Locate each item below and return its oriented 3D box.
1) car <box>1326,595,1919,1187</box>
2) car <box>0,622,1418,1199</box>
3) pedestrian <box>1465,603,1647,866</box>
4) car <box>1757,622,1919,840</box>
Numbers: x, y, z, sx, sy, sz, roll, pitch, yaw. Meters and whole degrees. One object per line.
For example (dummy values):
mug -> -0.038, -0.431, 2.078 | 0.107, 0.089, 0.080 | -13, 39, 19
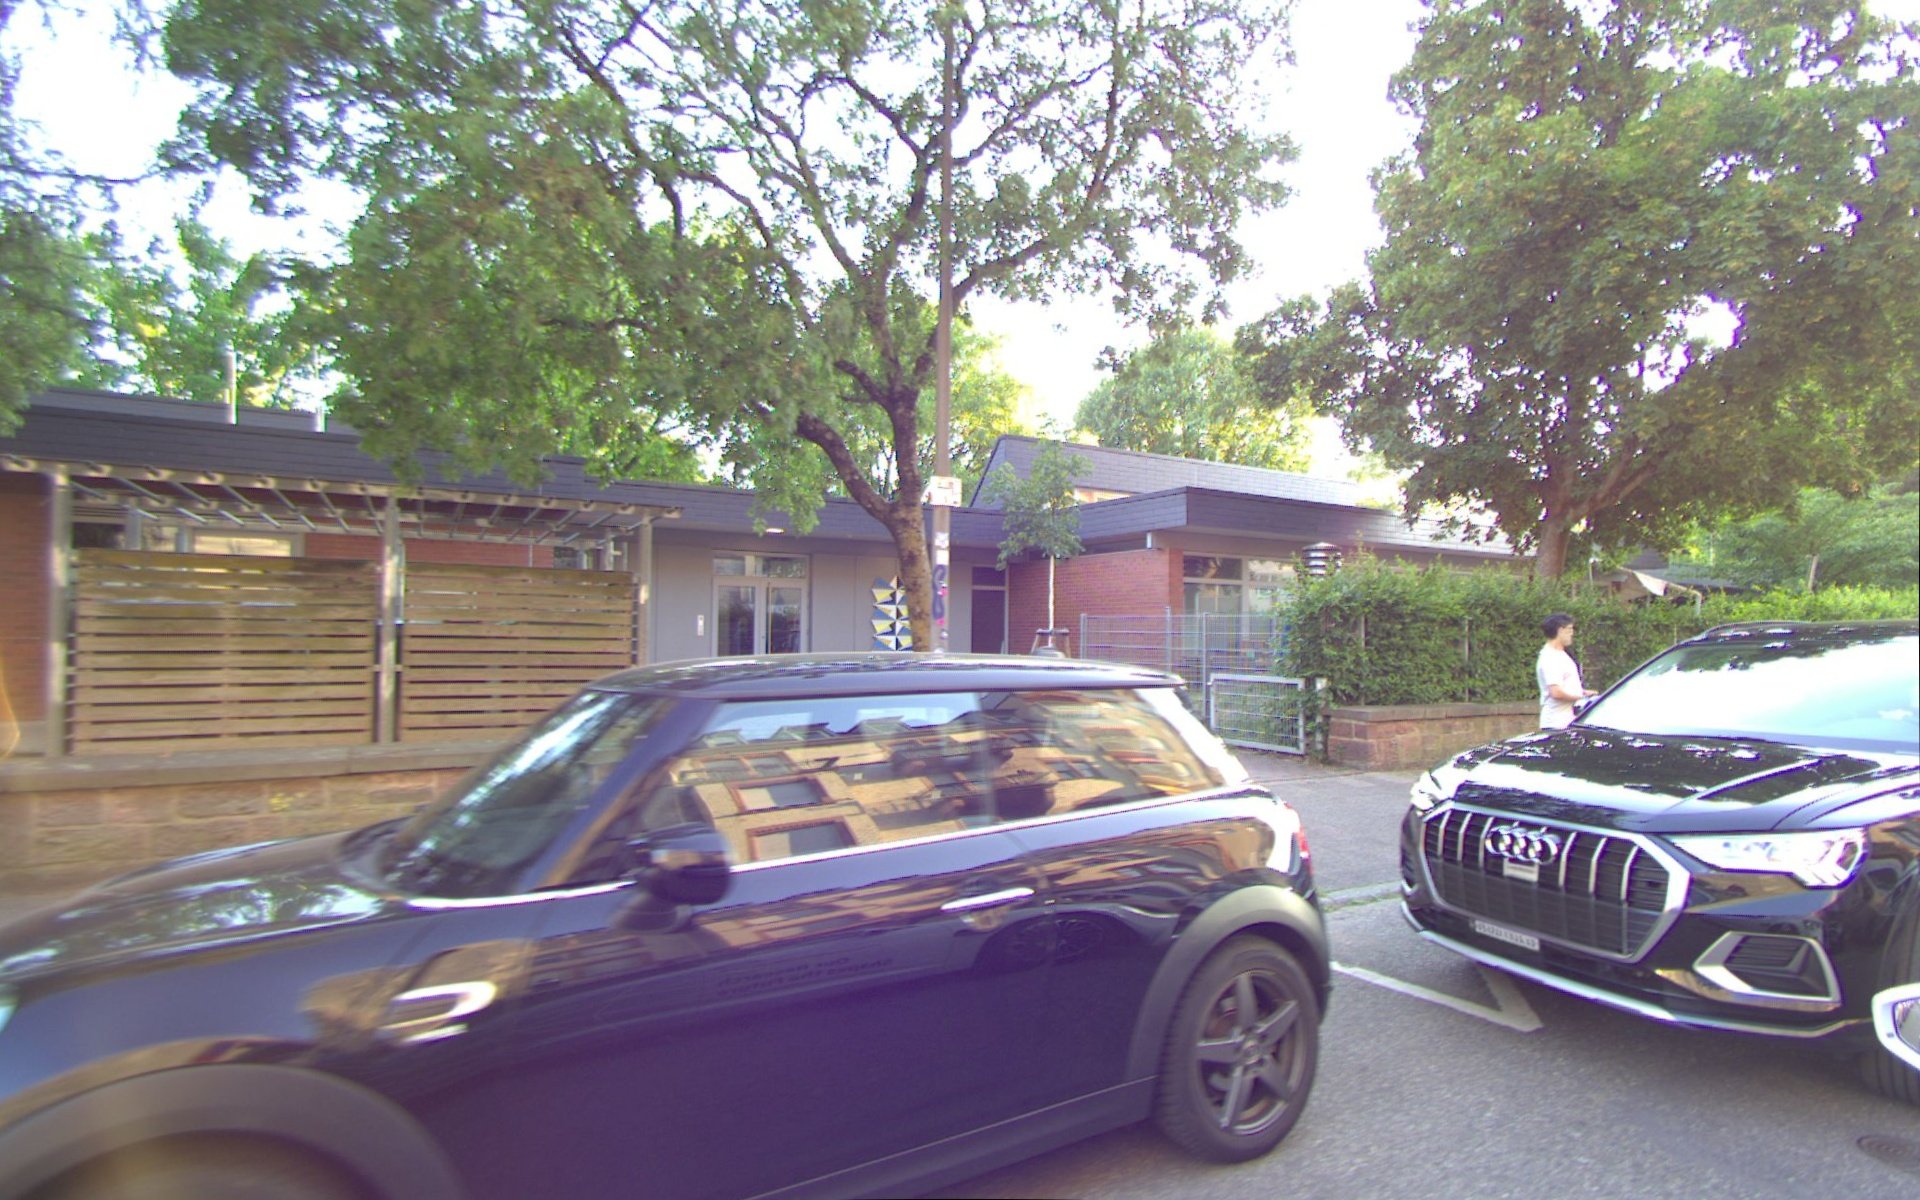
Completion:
car -> 4.009, 0.870, 4.439 | 4.500, 1.590, 1.801 | 2, -2, -23
car -> -0.712, 0.856, 2.828 | 3.944, 1.497, 1.630 | 2, -3, -29
pedestrian -> 4.545, 0.961, 7.688 | 0.778, 1.855, 0.933 | 2, -1, -31
car -> 8.993, 1.061, 8.735 | 3.950, 1.652, 1.777 | 2, -4, -28
